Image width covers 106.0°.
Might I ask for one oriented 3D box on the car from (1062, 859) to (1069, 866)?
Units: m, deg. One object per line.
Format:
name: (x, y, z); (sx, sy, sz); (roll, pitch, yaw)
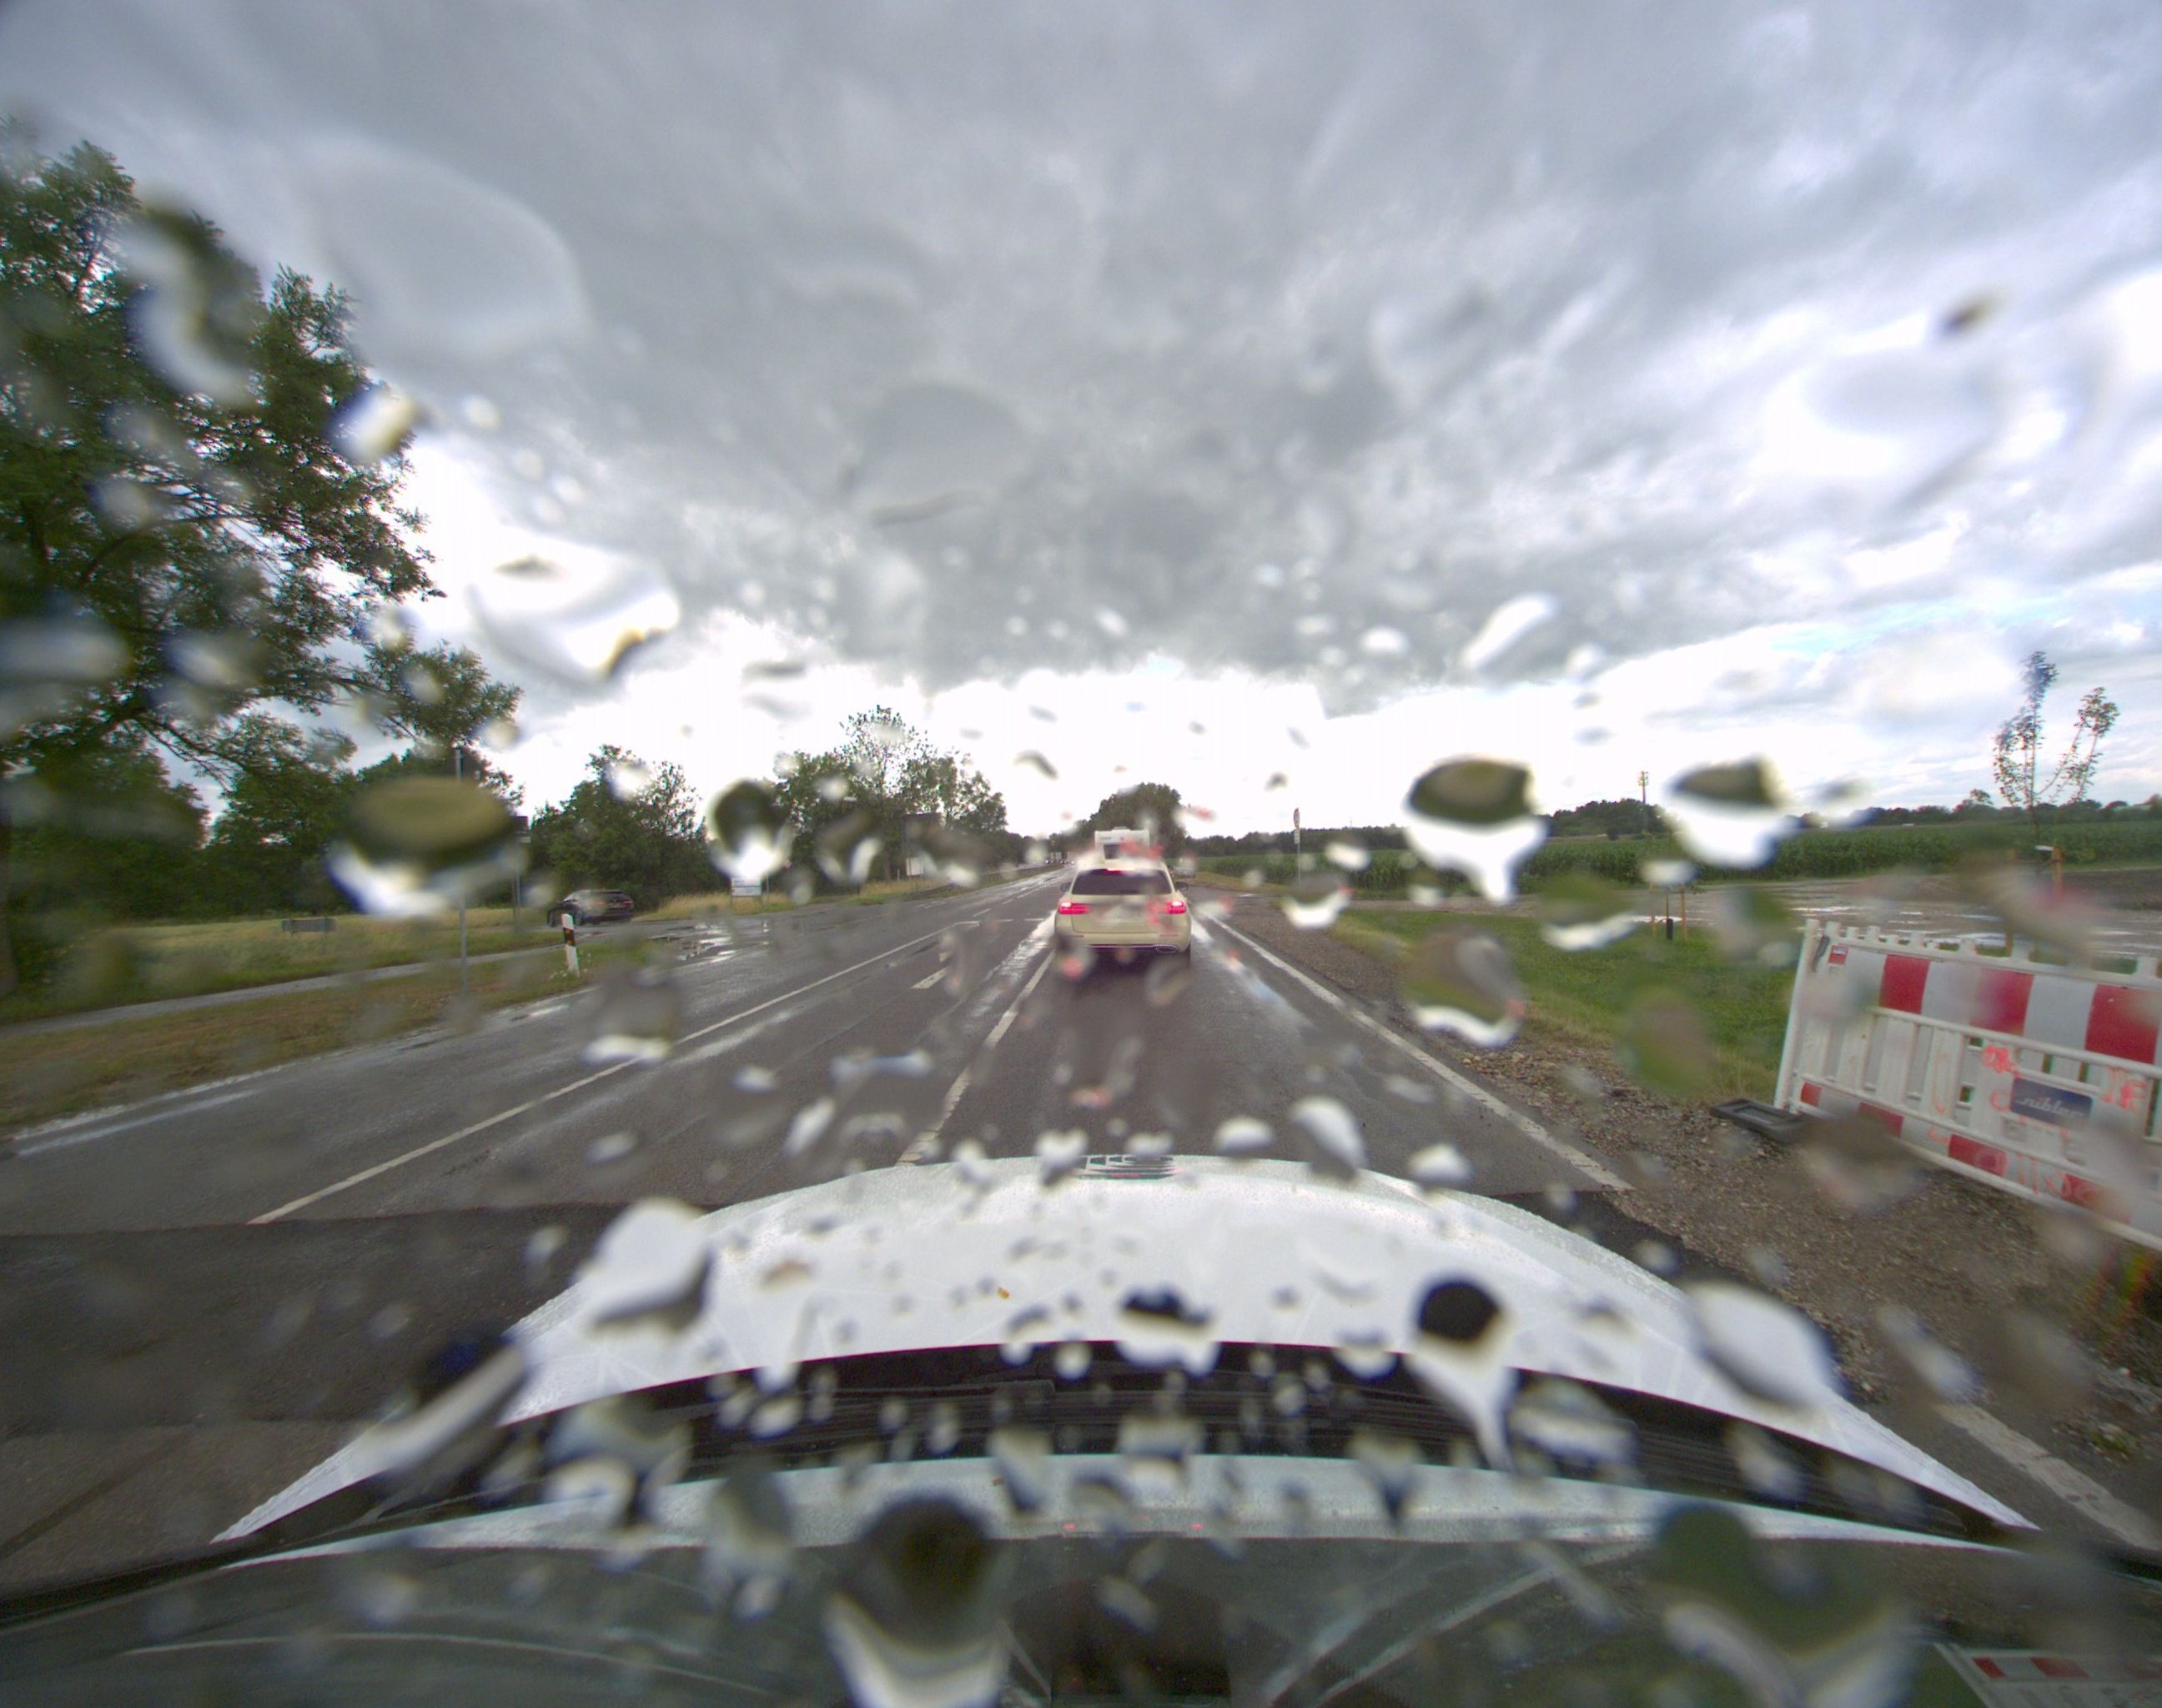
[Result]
car: (-4.225, 2.364, 223.998); (1.574, 1.640, 3.442); (-2, 0, 1)

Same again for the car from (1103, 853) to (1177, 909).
car: (1.631, 0.734, 23.630); (1.986, 1.462, 4.001); (0, -1, 2)

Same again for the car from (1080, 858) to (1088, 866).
car: (0.734, 2.072, 213.388); (1.890, 1.895, 3.841); (-2, 0, -1)

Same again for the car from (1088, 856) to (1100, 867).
car: (2.168, 1.240, 135.600); (1.784, 1.777, 3.722); (-2, 0, 2)

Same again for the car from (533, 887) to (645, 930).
car: (-20.393, 2.216, 33.703); (4.572, 1.547, 2.324); (-3, -1, 36)

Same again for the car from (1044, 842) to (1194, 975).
car: (0.532, 0.688, 12.078); (1.836, 1.618, 4.001); (-1, 0, 2)

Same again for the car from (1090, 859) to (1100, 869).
car: (2.680, 1.812, 153.398); (1.872, 1.761, 3.835); (-2, 0, 2)

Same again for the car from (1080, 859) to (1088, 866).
car: (0.721, 2.107, 204.129); (1.744, 1.662, 3.669); (-2, 0, -3)

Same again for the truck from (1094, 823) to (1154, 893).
truck: (1.868, 0.174, 36.872); (2.354, 2.729, 7.317); (-2, 0, 2)

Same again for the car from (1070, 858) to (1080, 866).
car: (-1.175, 1.657, 168.297); (1.821, 1.574, 4.002); (0, -1, 2)

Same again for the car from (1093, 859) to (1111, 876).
car: (2.348, 1.478, 90.815); (1.908, 1.841, 3.797); (-2, 0, 2)

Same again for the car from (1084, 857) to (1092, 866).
car: (1.730, 1.728, 190.062); (1.733, 1.860, 3.786); (-2, 0, 2)
